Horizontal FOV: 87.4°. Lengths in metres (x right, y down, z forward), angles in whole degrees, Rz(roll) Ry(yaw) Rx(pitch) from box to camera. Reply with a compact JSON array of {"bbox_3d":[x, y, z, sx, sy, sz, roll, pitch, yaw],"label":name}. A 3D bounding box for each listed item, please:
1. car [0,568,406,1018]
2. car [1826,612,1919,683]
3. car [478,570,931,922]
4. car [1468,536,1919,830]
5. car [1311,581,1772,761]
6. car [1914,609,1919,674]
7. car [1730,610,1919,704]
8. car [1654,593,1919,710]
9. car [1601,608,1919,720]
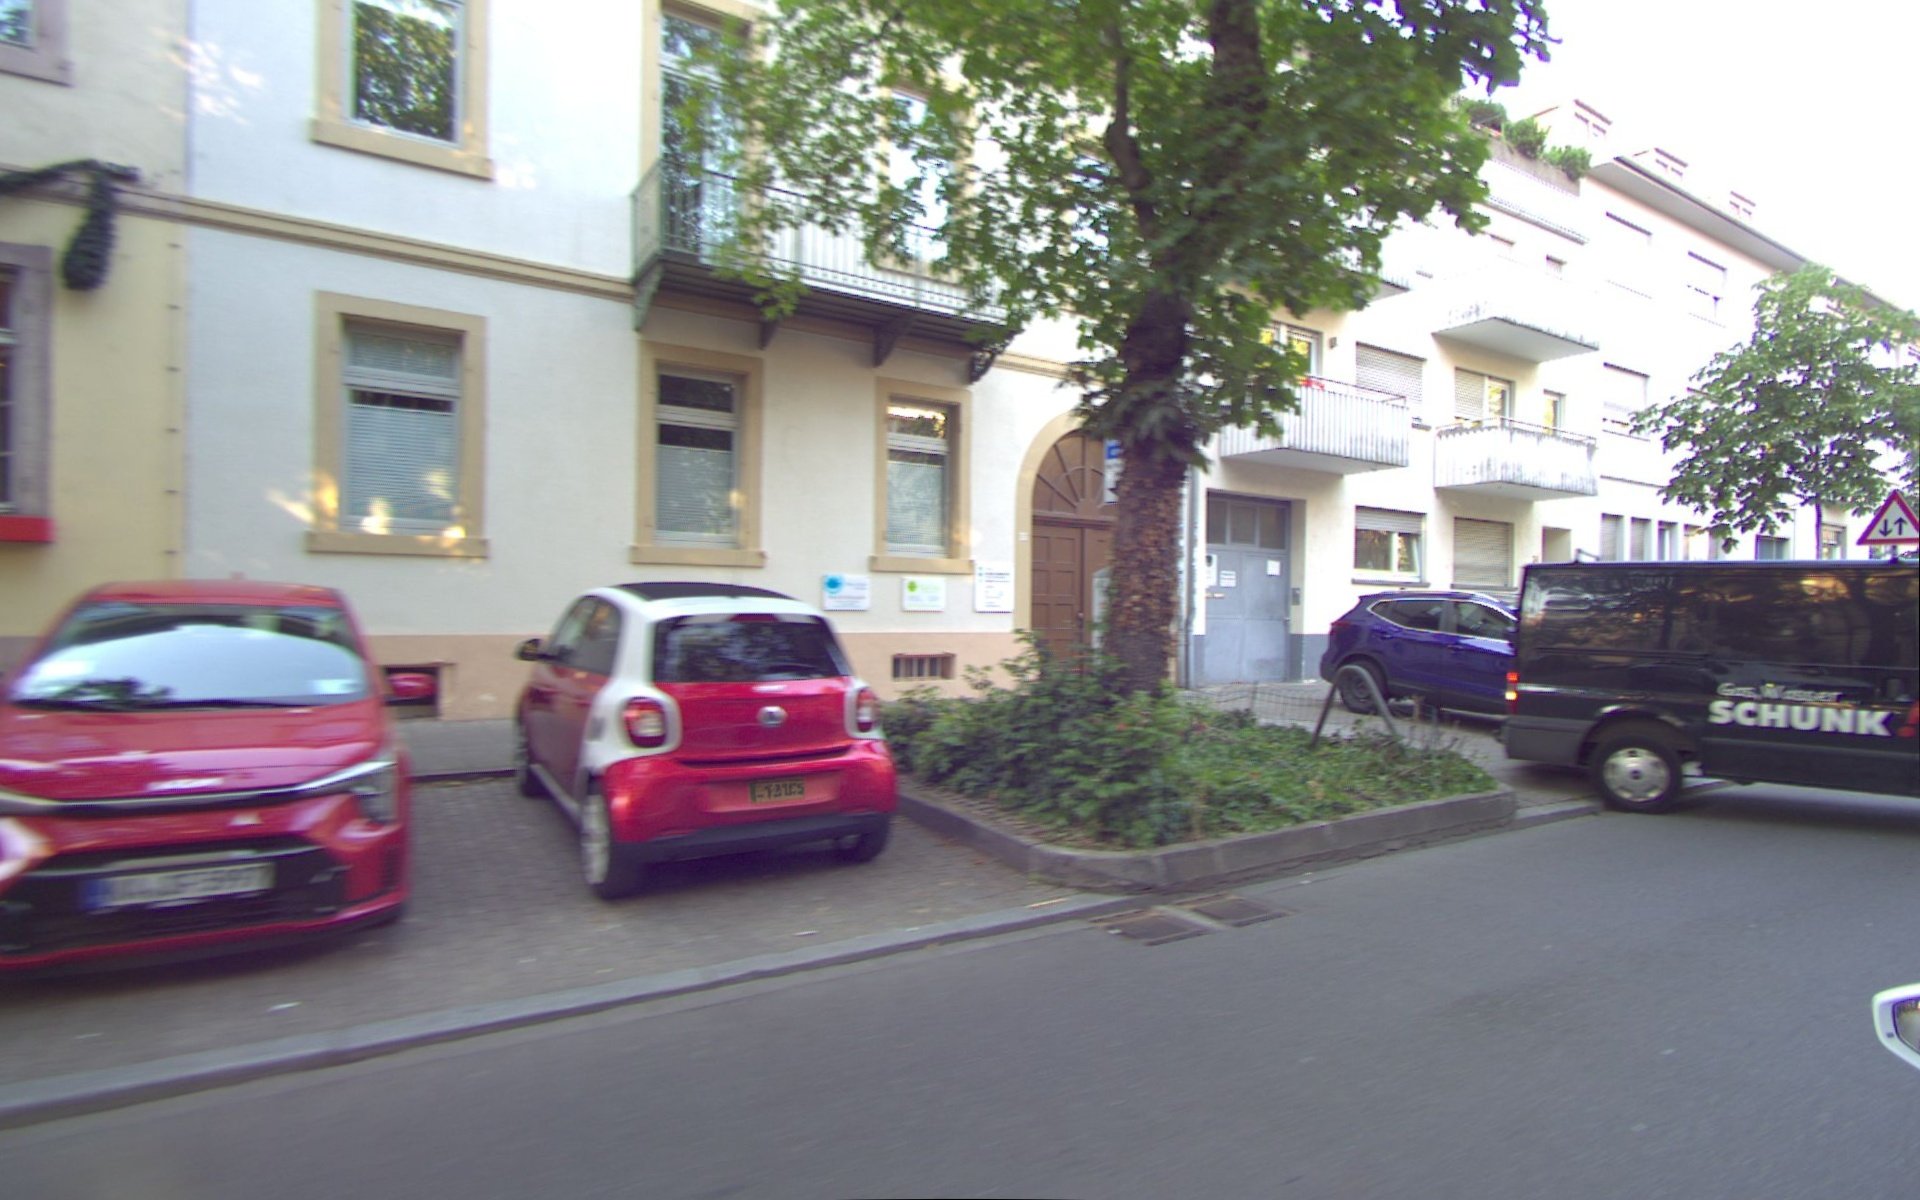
[{"bbox_3d":[-3.881,0.615,5.133,1.641,1.469,3.663,1,2,-32],"label":"car"},{"bbox_3d":[21.799,1.089,21.919,1.735,1.460,4.053,1,1,-31],"label":"car"},{"bbox_3d":[-2.069,0.646,6.914,1.752,1.559,4.330,2,1,-32],"label":"car"},{"bbox_3d":[6.927,0.580,7.963,4.924,2.017,2.182,-1,-1,35],"label":"car"},{"bbox_3d":[6.613,0.659,11.961,1.909,1.594,4.329,1,2,-32],"label":"car"},{"bbox_3d":[26.461,1.114,24.629,1.914,1.654,4.072,1,0,-31],"label":"car"},{"bbox_3d":[17.126,1.042,18.723,1.758,1.514,4.011,1,1,-29],"label":"car"},{"bbox_3d":[15.140,0.817,17.411,2.133,1.789,4.638,1,1,-33],"label":"car"},{"bbox_3d":[12.832,0.916,16.184,1.834,1.470,3.824,0,1,-32],"label":"car"}]
